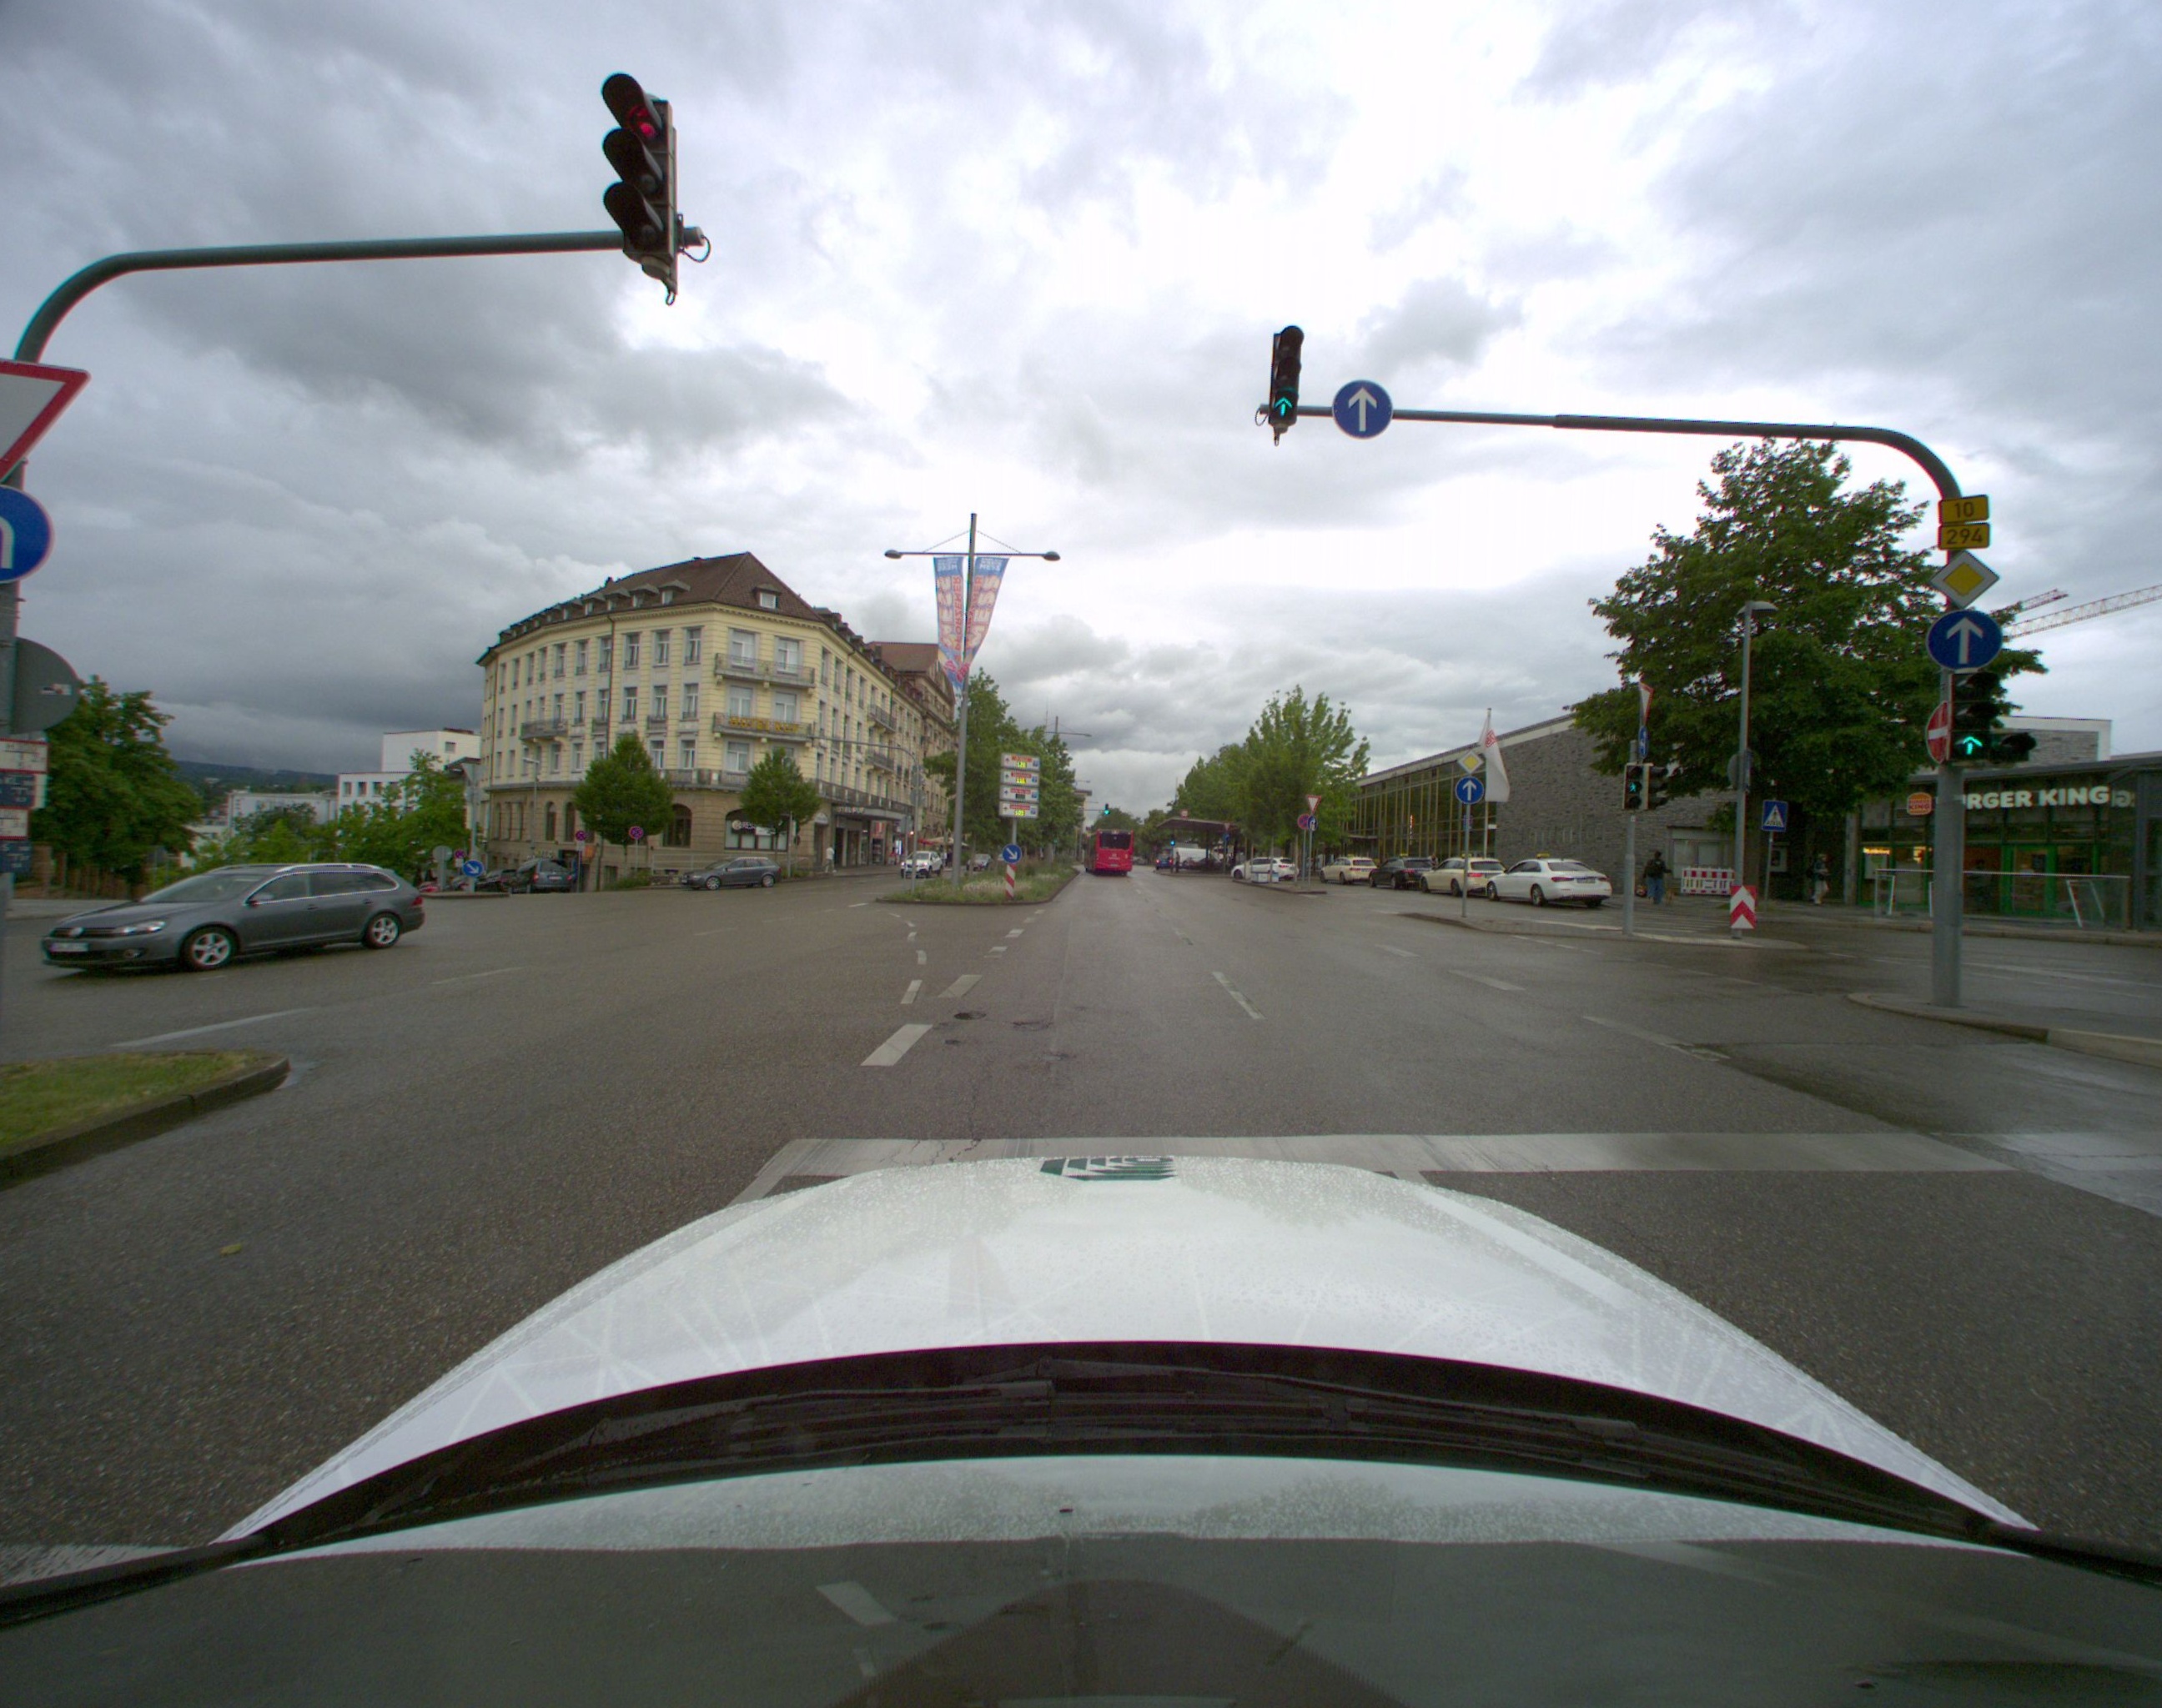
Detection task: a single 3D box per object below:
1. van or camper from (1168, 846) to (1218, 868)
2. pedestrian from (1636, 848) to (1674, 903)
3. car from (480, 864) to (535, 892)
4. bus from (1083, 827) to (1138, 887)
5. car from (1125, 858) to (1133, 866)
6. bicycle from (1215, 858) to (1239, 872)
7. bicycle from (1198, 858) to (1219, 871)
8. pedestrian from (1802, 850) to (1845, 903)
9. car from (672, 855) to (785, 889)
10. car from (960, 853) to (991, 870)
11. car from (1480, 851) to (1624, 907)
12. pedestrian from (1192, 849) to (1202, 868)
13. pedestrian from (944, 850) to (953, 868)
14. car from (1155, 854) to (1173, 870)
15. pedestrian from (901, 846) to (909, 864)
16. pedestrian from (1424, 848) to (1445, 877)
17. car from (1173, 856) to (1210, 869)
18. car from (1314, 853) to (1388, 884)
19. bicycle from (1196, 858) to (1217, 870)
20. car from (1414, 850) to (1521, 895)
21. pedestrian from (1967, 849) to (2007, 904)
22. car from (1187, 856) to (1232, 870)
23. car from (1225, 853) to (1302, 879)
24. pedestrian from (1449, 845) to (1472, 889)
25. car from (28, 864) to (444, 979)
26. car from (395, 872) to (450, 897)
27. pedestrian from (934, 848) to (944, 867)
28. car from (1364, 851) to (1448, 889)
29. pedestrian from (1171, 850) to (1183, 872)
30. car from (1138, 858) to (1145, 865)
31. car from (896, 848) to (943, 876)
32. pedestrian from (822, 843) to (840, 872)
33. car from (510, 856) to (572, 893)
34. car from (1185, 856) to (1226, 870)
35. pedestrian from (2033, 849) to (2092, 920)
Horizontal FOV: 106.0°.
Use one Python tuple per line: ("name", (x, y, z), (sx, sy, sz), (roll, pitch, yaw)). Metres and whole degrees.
("van or camper", (14.117, 0.348, 102.652), (5.976, 2.763, 2.180), (0, -1, -26))
("pedestrian", (17.330, 0.641, 24.575), (0.727, 1.626, 0.788), (0, -1, -43))
("car", (-31.798, 1.292, 45.103), (3.949, 1.398, 1.645), (0, 0, 42))
("bus", (1.978, 0.260, 59.952), (3.534, 3.979, 11.166), (0, -1, -1))
("car", (9.248, 1.547, 157.144), (1.589, 1.561, 3.652), (0, -1, 2))
("bicycle", (11.268, 0.846, 62.926), (1.821, 1.056, 0.420), (0, -1, 1))
("bicycle", (11.156, 0.909, 71.438), (1.831, 1.056, 0.418), (0, -1, -17))
("pedestrian", (24.109, 0.724, 26.456), (0.715, 1.667, 0.800), (-1, -1, 12))
("car", (-16.102, 0.777, 37.360), (1.678, 1.465, 4.480), (-1, -1, 39))
("car", (-8.907, 0.634, 68.988), (1.948, 1.422, 4.001), (0, -1, 1))
("car", (14.743, 0.747, 25.861), (1.872, 1.599, 4.905), (0, 0, 2))
("pedestrian", (11.564, 0.464, 81.262), (0.853, 1.835, 1.190), (0, -1, 1))
("pedestrian", (-12.203, 0.455, 74.809), (0.679, 1.664, 0.807), (0, -1, 2))
("car", (8.711, 0.869, 85.404), (1.849, 1.569, 4.006), (1, -1, 6))
("pedestrian", (-16.254, 0.062, 75.226), (0.666, 1.664, 0.535), (0, -1, -7))
("pedestrian", (18.889, 0.455, 43.531), (0.766, 1.580, 0.710), (0, -1, -2))
("car", (13.134, 1.029, 96.610), (4.006, 1.443, 1.849), (1, -1, -25))
("car", (14.665, 0.754, 44.505), (1.991, 1.599, 4.948), (0, 0, -6))
("bicycle", (11.060, 0.914, 71.888), (1.831, 1.056, 0.418), (0, -1, -17))
("car", (14.918, 0.662, 31.768), (1.986, 1.599, 4.961), (0, 0, 2))
("pedestrian", (28.147, 0.686, 25.311), (0.713, 1.667, 0.802), (-1, -1, 40))
("car", (12.956, 0.915, 82.194), (4.197, 1.325, 1.829), (1, -1, -18))
("car", (11.410, 0.741, 51.181), (1.772, 1.546, 4.723), (1, -1, -38))
("pedestrian", (19.178, 0.655, 41.157), (0.793, 2.164, 0.721), (0, -1, -5))
("car", (-12.757, 0.905, 12.829), (1.687, 1.465, 4.457), (0, 0, 4))
("car", (-41.439, 1.893, 51.242), (3.958, 1.478, 1.781), (-1, -1, 37))
("pedestrian", (-13.062, 0.322, 74.824), (0.678, 1.664, 0.808), (0, -1, 5))
("car", (15.016, 0.706, 37.962), (1.987, 1.599, 4.958), (1, 0, 1))
("pedestrian", (7.884, 0.570, 66.855), (0.745, 1.747, 0.834), (1, -1, -7))
("car", (15.677, 2.009, 211.551), (1.638, 1.661, 3.652), (0, -1, 2))
("car", (-9.903, 0.505, 50.304), (1.948, 1.618, 4.210), (0, -1, 2))
("pedestrian", (-16.074, 0.240, 52.356), (0.876, 1.813, 0.751), (0, -1, 1))
("car", (-27.075, 0.986, 40.812), (3.949, 1.759, 1.645), (0, 0, 42))
("car", (13.099, 0.941, 85.859), (4.010, 1.359, 1.847), (1, -1, -29))
("pedestrian", (24.801, 0.755, 20.585), (0.646, 1.666, 0.772), (-7, 5, -20))
